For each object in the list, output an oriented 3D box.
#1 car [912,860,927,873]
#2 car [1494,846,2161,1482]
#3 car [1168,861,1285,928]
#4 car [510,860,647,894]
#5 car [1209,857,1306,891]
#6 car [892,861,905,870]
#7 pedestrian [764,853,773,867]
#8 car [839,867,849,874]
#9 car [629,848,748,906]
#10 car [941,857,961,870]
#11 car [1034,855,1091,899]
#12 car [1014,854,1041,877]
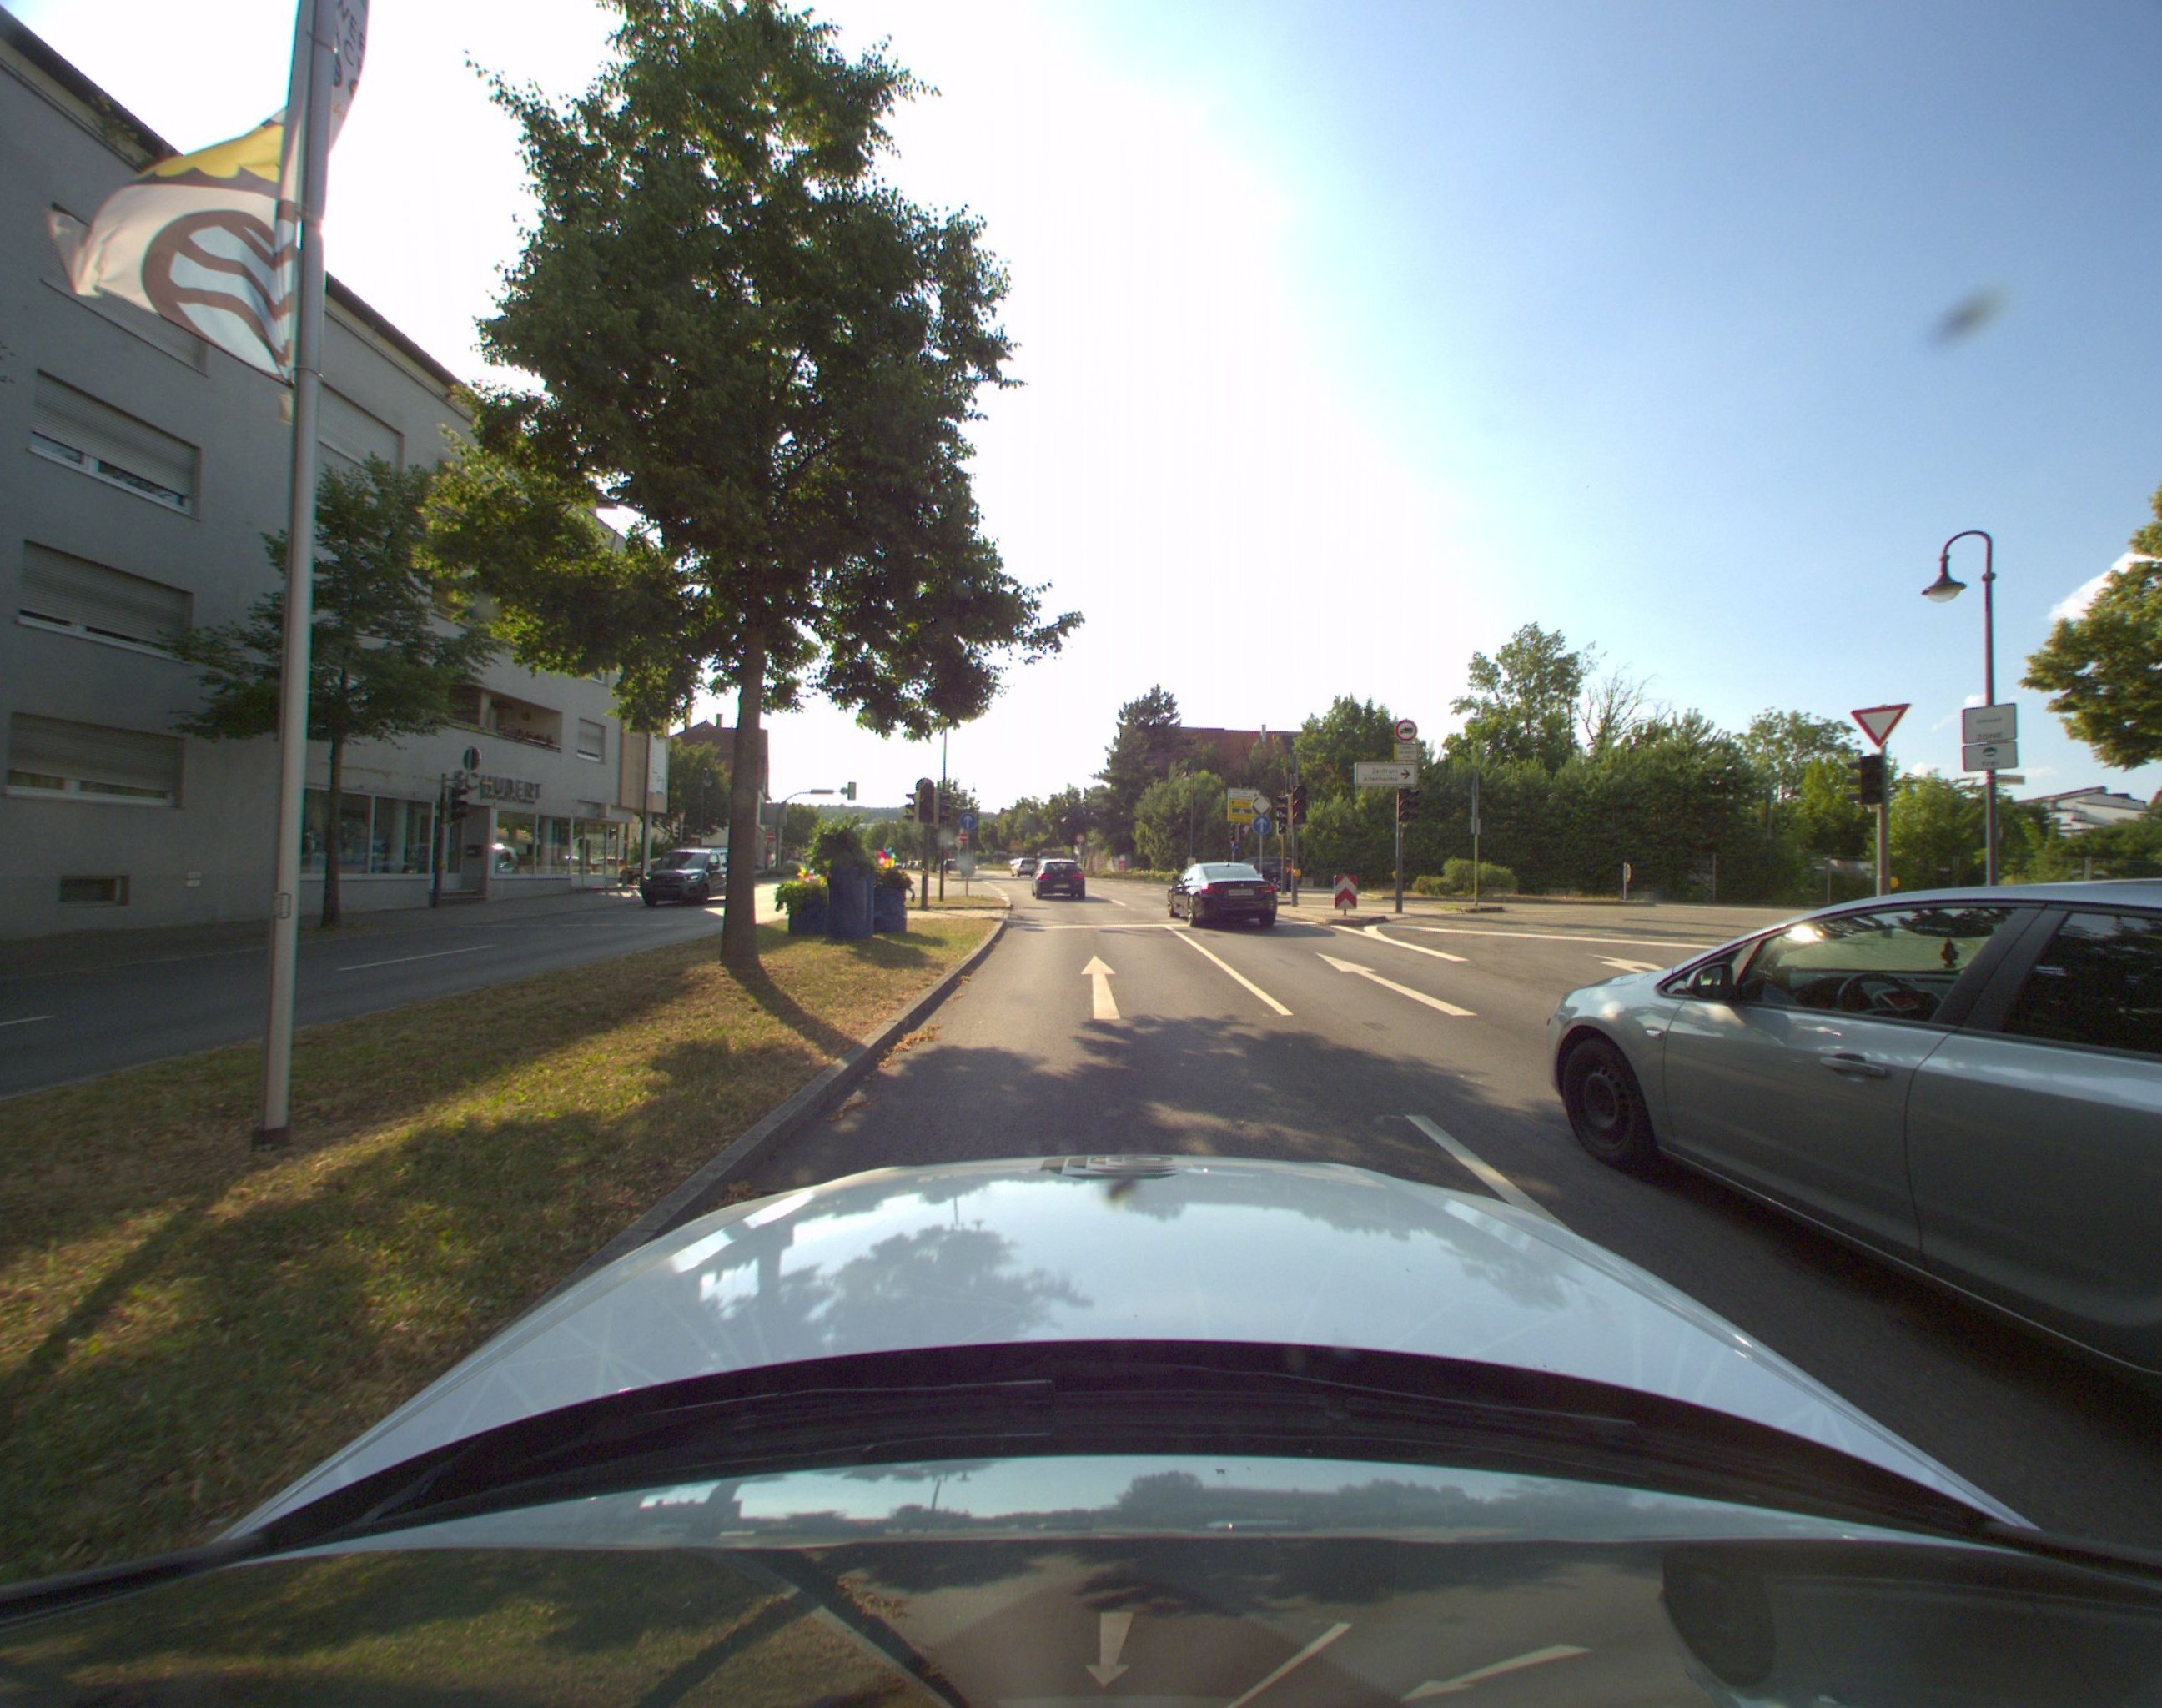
[{"bbox_3d":[-23.363,1.801,117.782,1.760,1.769,3.947,0,-1,-17],"label":"car"},{"bbox_3d":[3.386,0.719,2.836,1.715,1.490,4.306,0,0,0],"label":"car"},{"bbox_3d":[3.196,0.850,18.769,1.914,1.364,4.352,0,-1,0],"label":"car"},{"bbox_3d":[-22.518,1.013,36.679,4.857,1.437,1.911,0,-1,-9],"label":"car"},{"bbox_3d":[8.580,0.933,39.716,4.216,1.567,1.804,0,0,35],"label":"car"},{"bbox_3d":[-35.434,2.245,158.288,2.222,1.769,4.428,0,-1,-17],"label":"car"},{"bbox_3d":[-30.659,0.578,79.952,0.815,1.394,0.702,0,-1,-18],"label":"pedestrian"},{"bbox_3d":[-45.855,3.193,157.610,1.759,1.361,4.462,0,-1,-15],"label":"car"},{"bbox_3d":[-12.826,0.710,27.007,1.849,1.736,4.915,0,-1,-4],"label":"car"},{"bbox_3d":[-18.121,1.287,113.468,2.222,1.769,4.428,0,-1,-17],"label":"car"},{"bbox_3d":[-0.614,0.821,30.335,1.713,1.490,4.357,0,-1,4],"label":"car"},{"bbox_3d":[-4.268,0.922,64.388,1.923,1.769,4.443,0,-1,-7],"label":"car"}]
